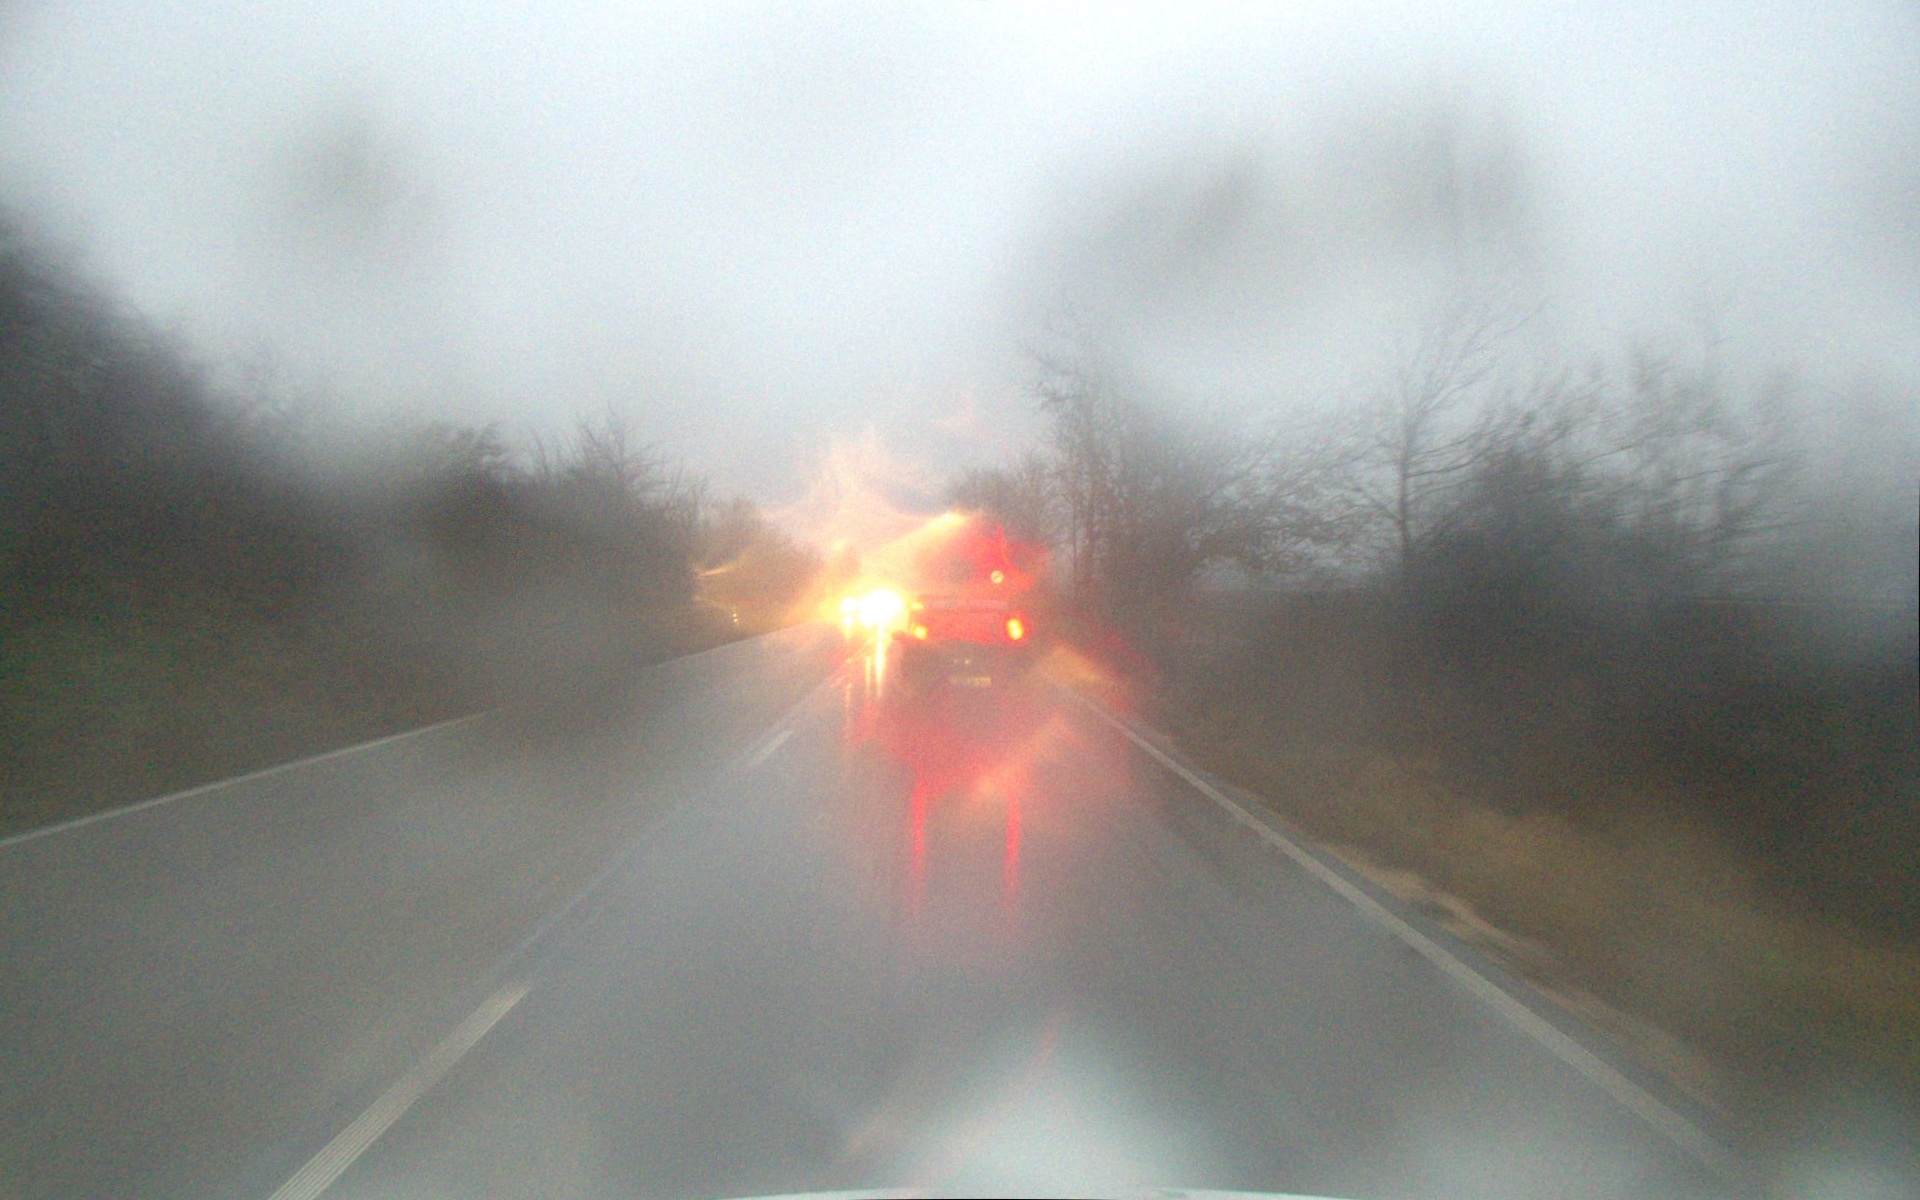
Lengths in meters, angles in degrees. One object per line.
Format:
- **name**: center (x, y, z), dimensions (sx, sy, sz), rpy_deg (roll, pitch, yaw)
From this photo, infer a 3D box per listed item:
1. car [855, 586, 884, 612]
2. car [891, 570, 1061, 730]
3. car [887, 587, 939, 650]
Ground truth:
- **car**: center (-5.749, -0.050, 105.358), dimensions (1.657, 1.557, 4.084), rpy_deg (1, 0, -2)
- **car**: center (0.172, 0.584, 21.272), dimensions (1.953, 1.816, 3.999), rpy_deg (1, 0, -1)
- **car**: center (-1.471, 0.568, 52.487), dimensions (1.542, 1.908, 3.708), rpy_deg (1, 0, -1)
